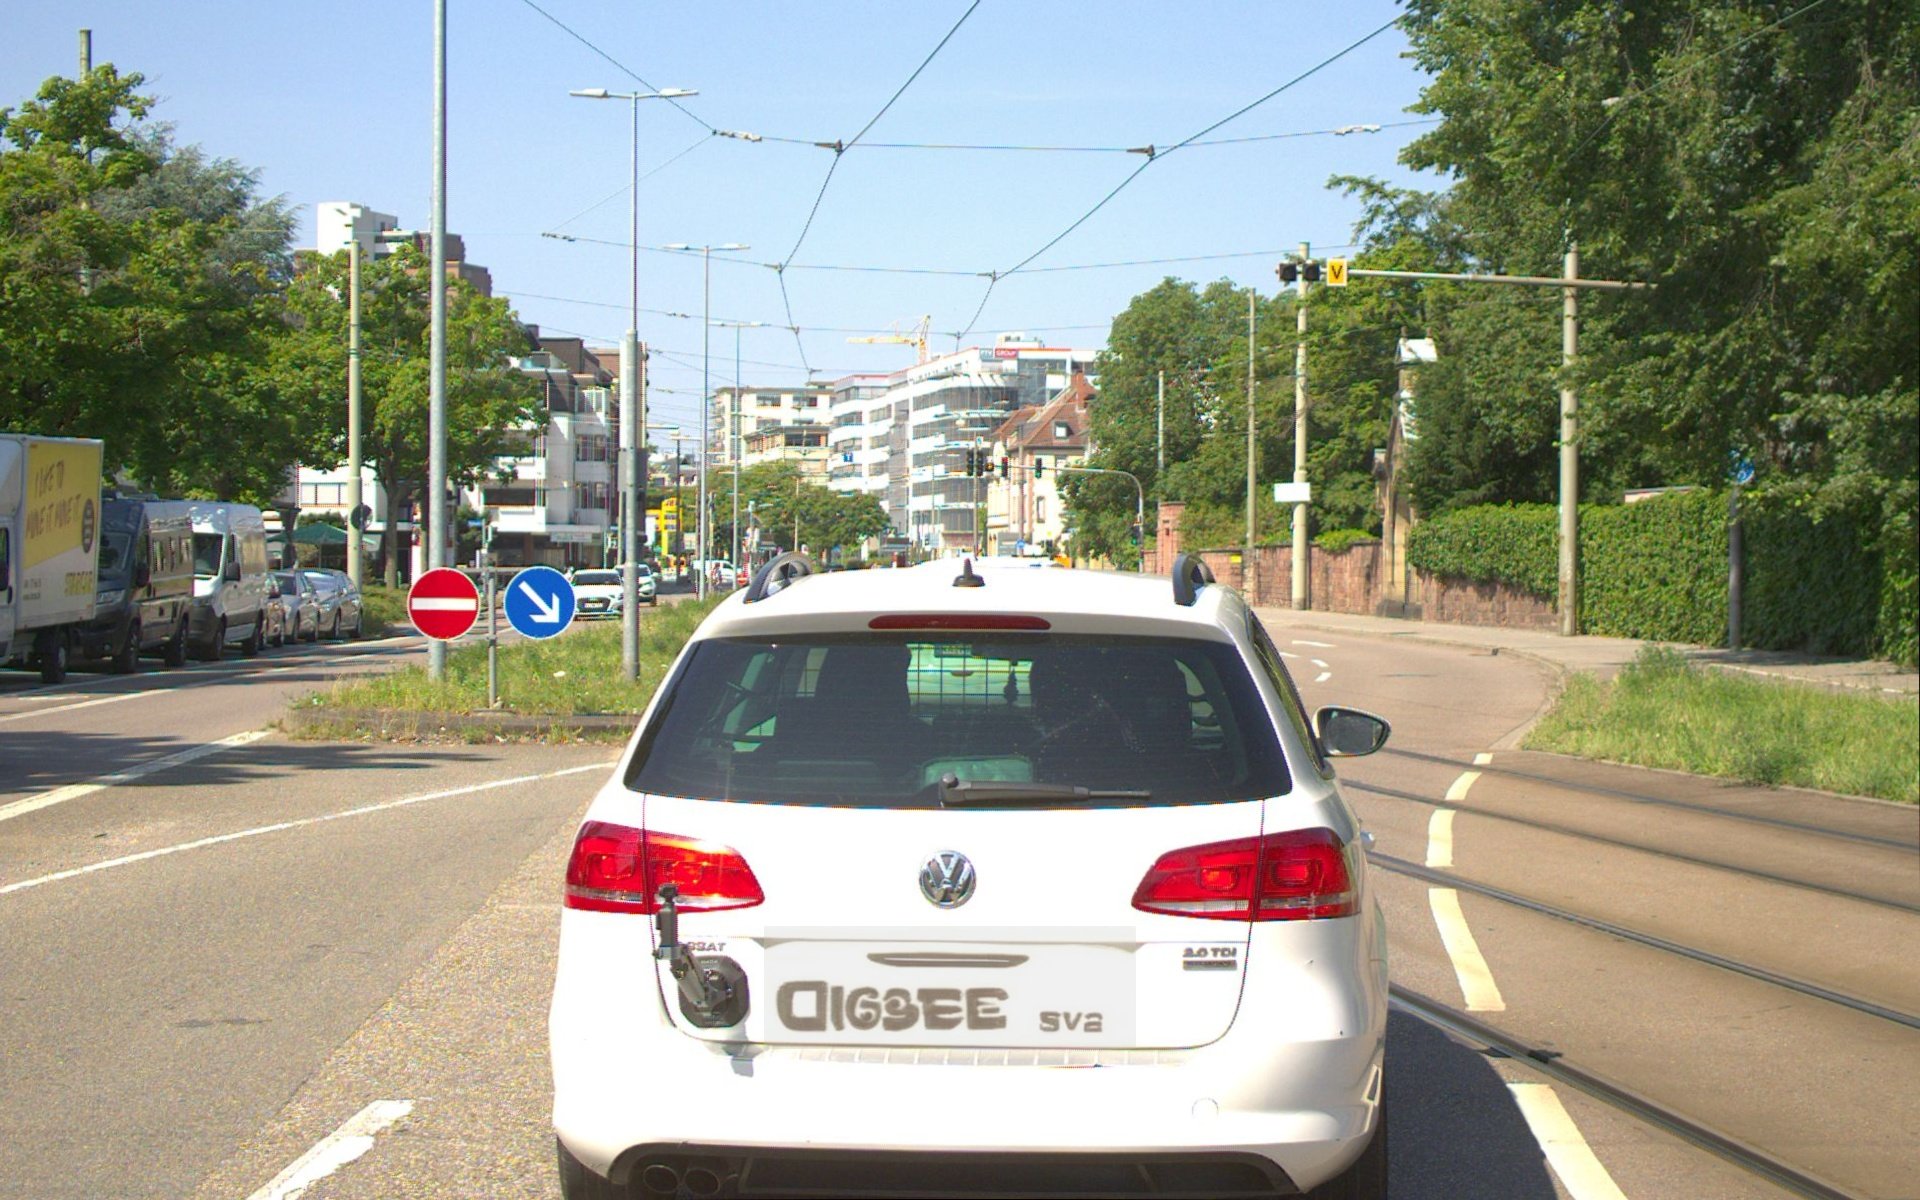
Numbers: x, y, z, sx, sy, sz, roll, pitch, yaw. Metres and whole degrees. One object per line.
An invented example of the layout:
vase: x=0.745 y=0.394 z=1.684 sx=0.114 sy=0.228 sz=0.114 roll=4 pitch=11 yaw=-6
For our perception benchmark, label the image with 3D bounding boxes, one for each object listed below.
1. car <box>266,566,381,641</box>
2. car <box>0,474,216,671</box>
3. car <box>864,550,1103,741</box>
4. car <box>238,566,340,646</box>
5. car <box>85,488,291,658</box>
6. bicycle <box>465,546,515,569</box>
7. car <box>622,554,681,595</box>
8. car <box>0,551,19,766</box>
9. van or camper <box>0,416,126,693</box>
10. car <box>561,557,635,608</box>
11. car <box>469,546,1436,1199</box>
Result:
car: x=-13.583 y=0.047 z=73.610 sx=1.604 sy=1.485 sz=4.618 roll=2 pitch=1 yaw=-1
car: x=-12.690 y=-0.435 z=50.715 sx=2.195 sy=2.659 sz=6.080 roll=2 pitch=1 yaw=-2
car: x=0.282 y=0.369 z=31.569 sx=1.731 sy=1.591 sz=4.010 roll=2 pitch=1 yaw=6
car: x=-13.323 y=0.095 z=68.381 sx=1.291 sy=1.485 sz=4.351 roll=2 pitch=1 yaw=-2
car: x=-12.812 y=-0.472 z=57.432 sx=2.195 sy=2.621 sz=5.979 roll=2 pitch=1 yaw=-2
bicycle: x=-18.944 y=-1.716 z=138.677 sx=0.553 sy=0.918 sz=2.172 roll=1 pitch=1 yaw=42
car: x=-12.041 y=-1.007 z=134.429 sx=2.043 sy=1.592 sz=4.660 roll=0 pitch=1 yaw=-2
car: x=-7.315 y=0.418 z=21.880 sx=1.727 sy=1.460 sz=4.001 roll=0 pitch=1 yaw=-3
van or camper: x=-12.304 y=-0.604 z=42.790 sx=2.196 sy=3.230 sz=6.772 roll=2 pitch=1 yaw=-1
car: x=-10.334 y=-0.525 z=98.286 sx=1.791 sy=1.418 sz=4.336 roll=0 pitch=1 yaw=-2
car: x=0.128 y=0.615 z=8.227 sx=1.779 sy=1.485 sz=3.846 roll=0 pitch=1 yaw=5
